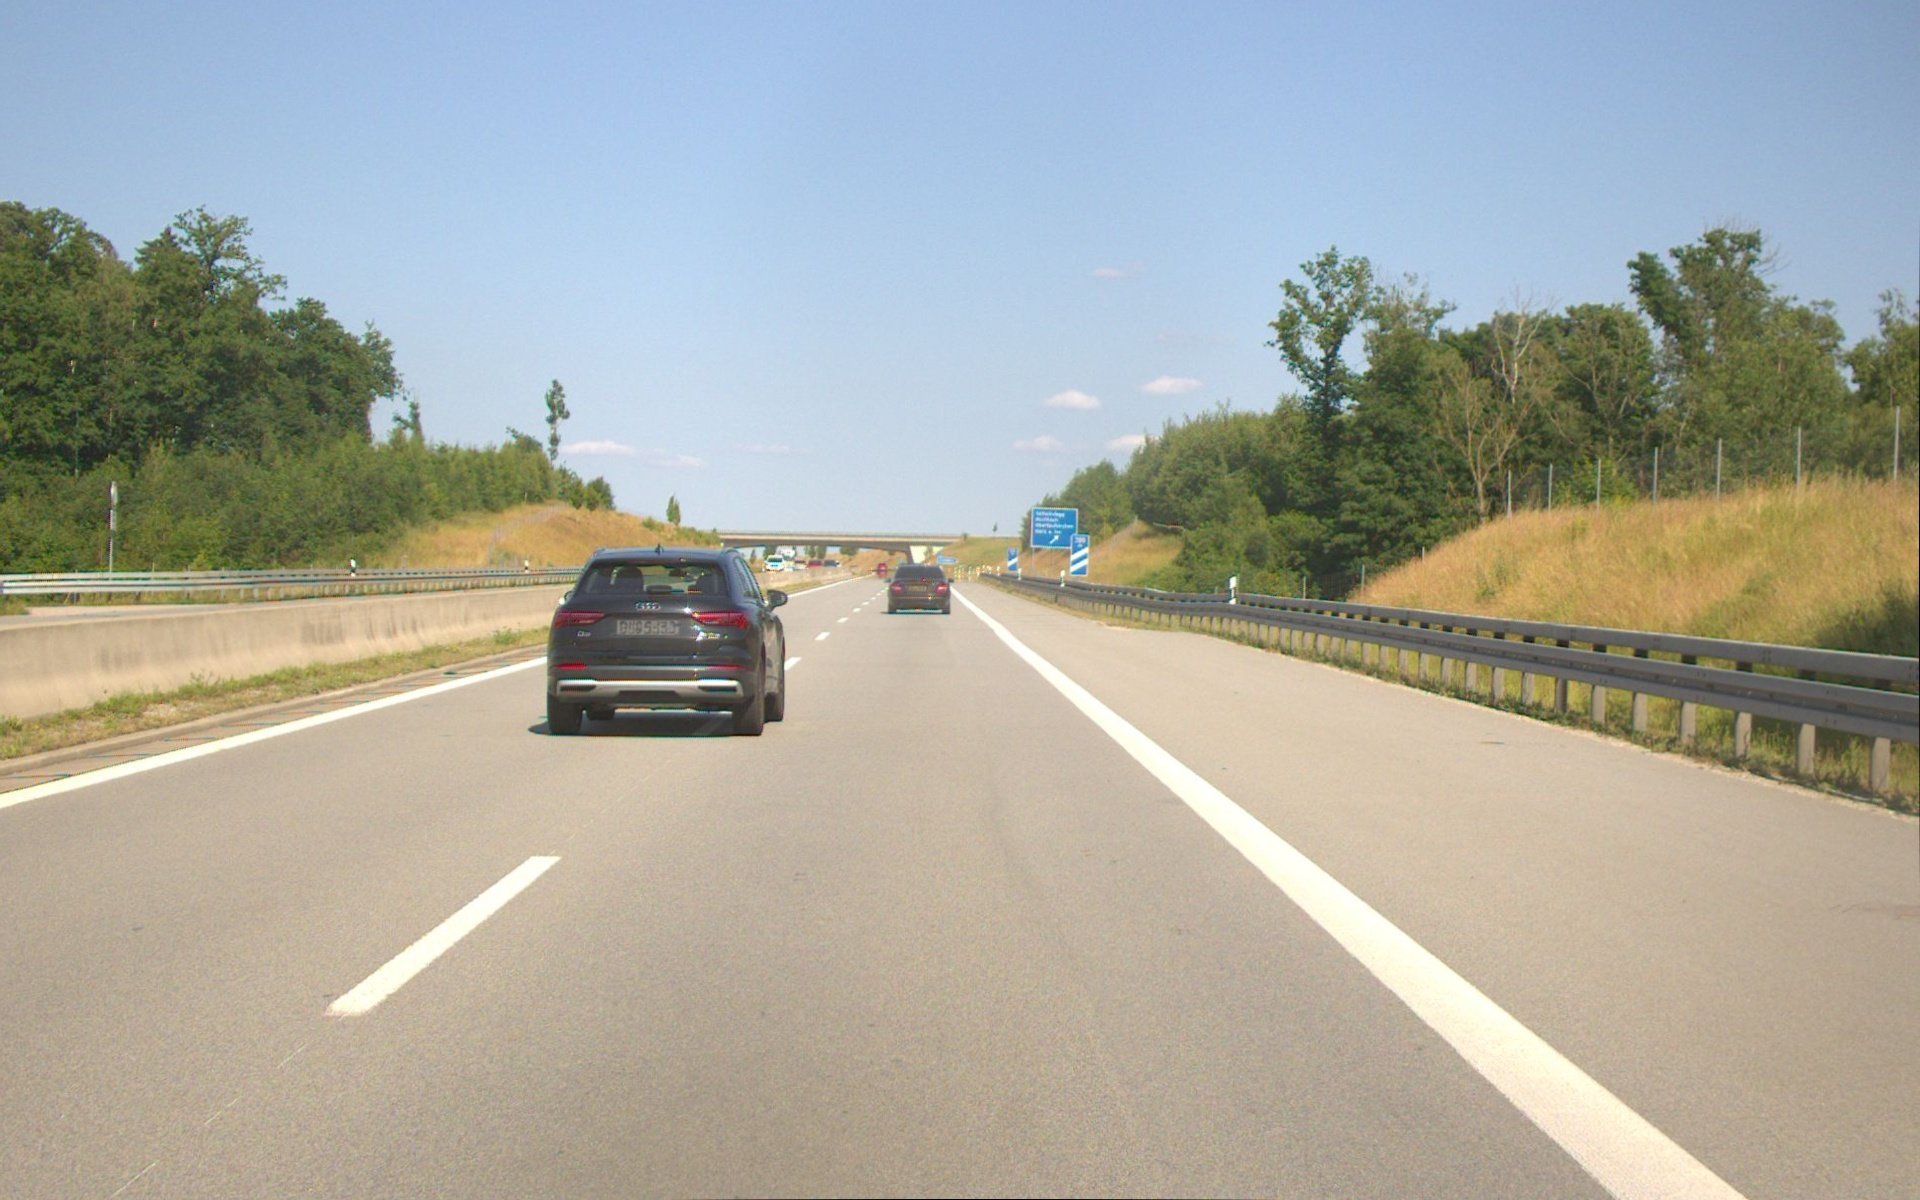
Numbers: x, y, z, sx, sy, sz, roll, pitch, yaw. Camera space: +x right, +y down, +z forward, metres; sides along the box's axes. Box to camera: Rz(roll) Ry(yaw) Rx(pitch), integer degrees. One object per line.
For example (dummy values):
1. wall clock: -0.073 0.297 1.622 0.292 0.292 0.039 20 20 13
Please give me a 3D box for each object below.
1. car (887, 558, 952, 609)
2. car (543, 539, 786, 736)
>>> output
1. car: -1.131 -0.477 97.484 1.790 1.369 3.917 1 1 0
2. car: -2.541 0.267 30.650 1.722 1.582 5.222 1 1 0
